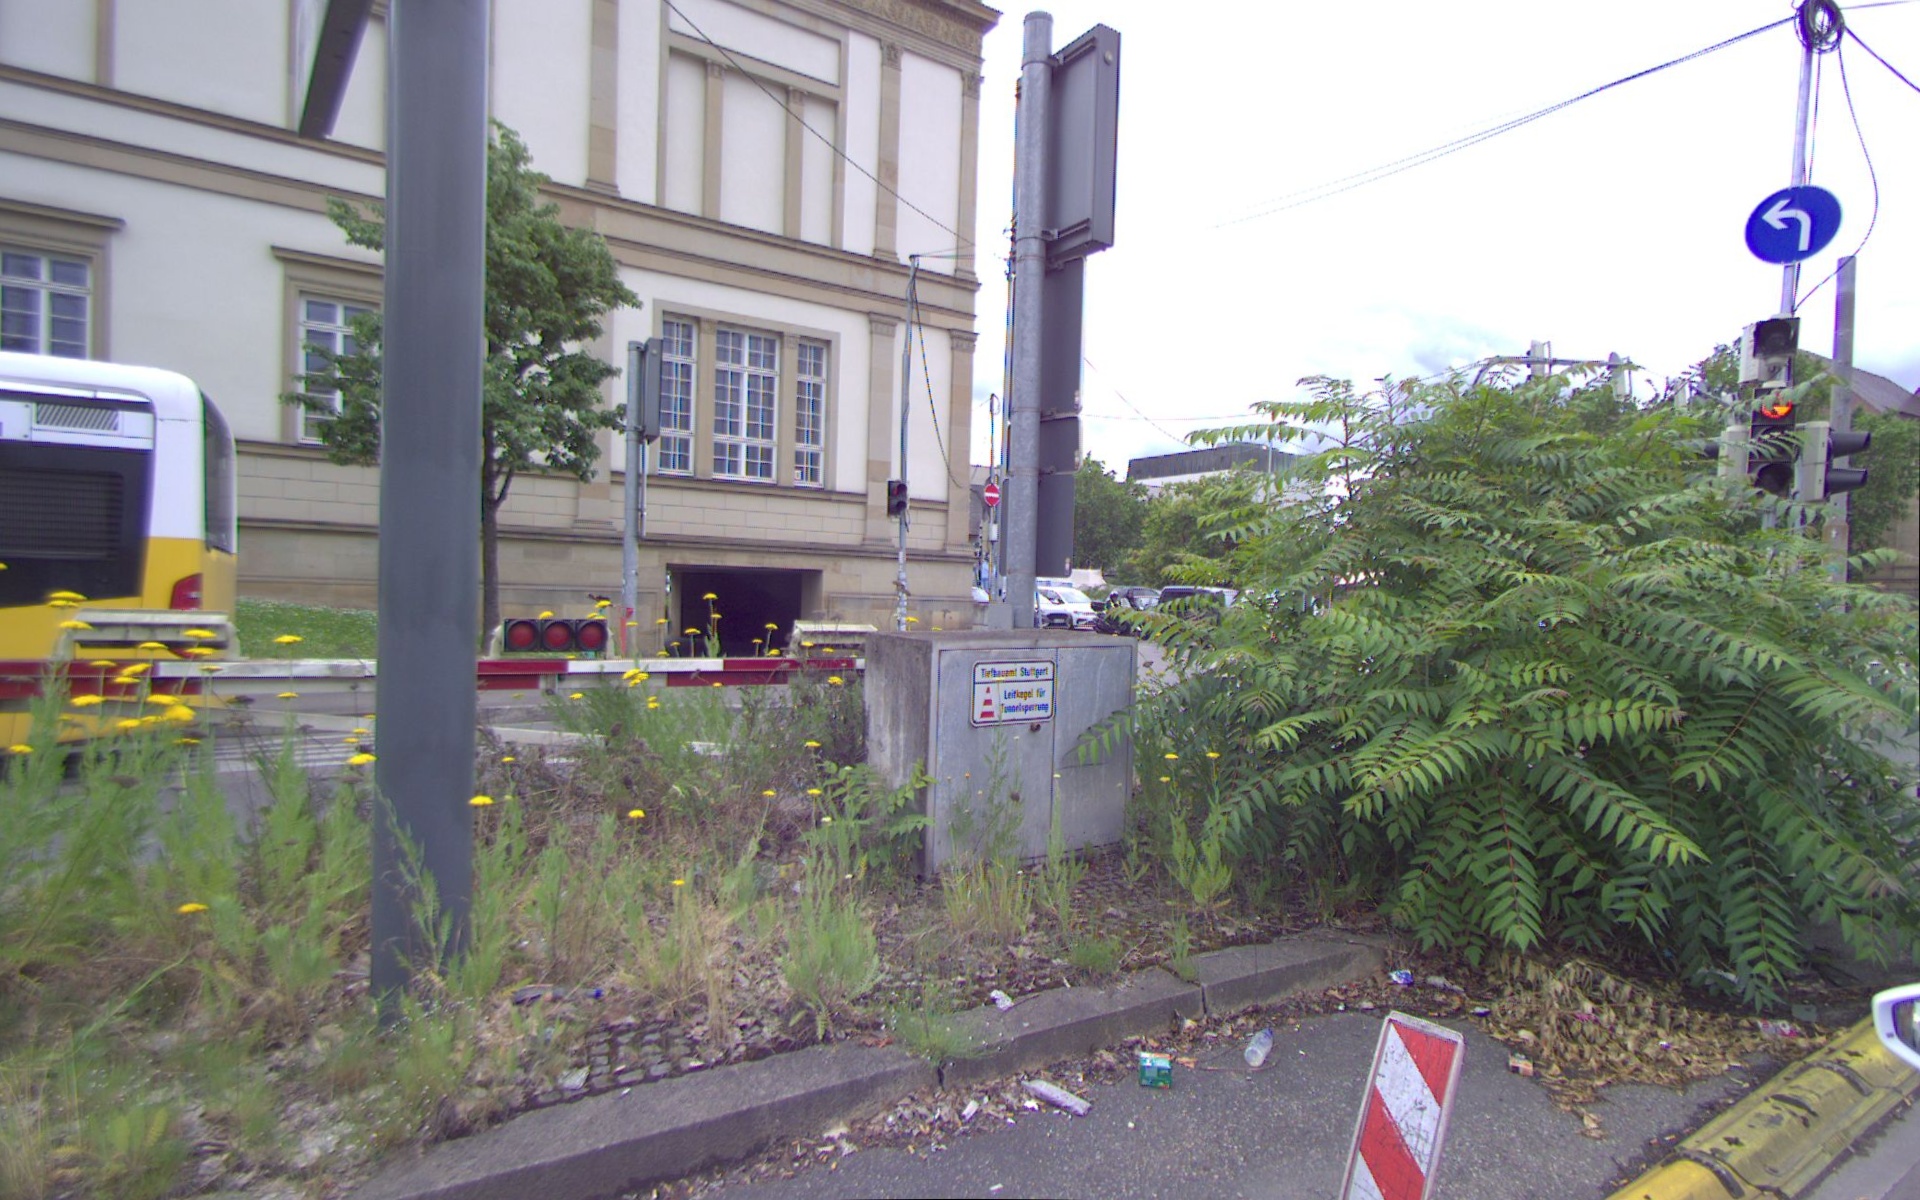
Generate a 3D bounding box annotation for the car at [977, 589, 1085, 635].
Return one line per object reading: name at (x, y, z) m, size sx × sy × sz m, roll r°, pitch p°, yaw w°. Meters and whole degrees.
car at (2.595, 0.422, 37.702) m, size 1.978 × 1.568 × 4.083 m, roll 2°, pitch 0°, yaw -32°

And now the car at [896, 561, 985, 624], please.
car at (-0.898, -0.329, 43.717) m, size 1.978 × 2.585 × 4.083 m, roll 2°, pitch 0°, yaw -32°

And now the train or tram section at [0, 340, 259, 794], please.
train or tram section at (-10.153, -0.271, 6.274) m, size 9.229 × 3.112 × 2.680 m, roll 1°, pitch -1°, yaw -31°

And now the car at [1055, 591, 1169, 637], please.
car at (5.535, 0.497, 37.085) m, size 1.978 × 1.568 × 4.084 m, roll 2°, pitch 0°, yaw -32°

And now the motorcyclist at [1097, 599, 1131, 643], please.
motorcyclist at (5.026, 0.676, 32.784) m, size 0.690 × 1.398 × 0.784 m, roll 2°, pitch 1°, yaw -33°

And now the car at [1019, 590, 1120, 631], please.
car at (4.384, 0.396, 40.835) m, size 1.978 × 1.568 × 4.085 m, roll 2°, pitch 0°, yaw -31°

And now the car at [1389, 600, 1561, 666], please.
car at (16.182, 0.986, 31.688) m, size 4.441 × 1.783 × 1.989 m, roll 3°, pitch 1°, yaw 43°

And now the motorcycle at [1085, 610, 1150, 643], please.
motorcycle at (5.102, 0.850, 32.646) m, size 0.690 × 0.953 × 2.335 m, roll 2°, pitch 1°, yaw -32°
